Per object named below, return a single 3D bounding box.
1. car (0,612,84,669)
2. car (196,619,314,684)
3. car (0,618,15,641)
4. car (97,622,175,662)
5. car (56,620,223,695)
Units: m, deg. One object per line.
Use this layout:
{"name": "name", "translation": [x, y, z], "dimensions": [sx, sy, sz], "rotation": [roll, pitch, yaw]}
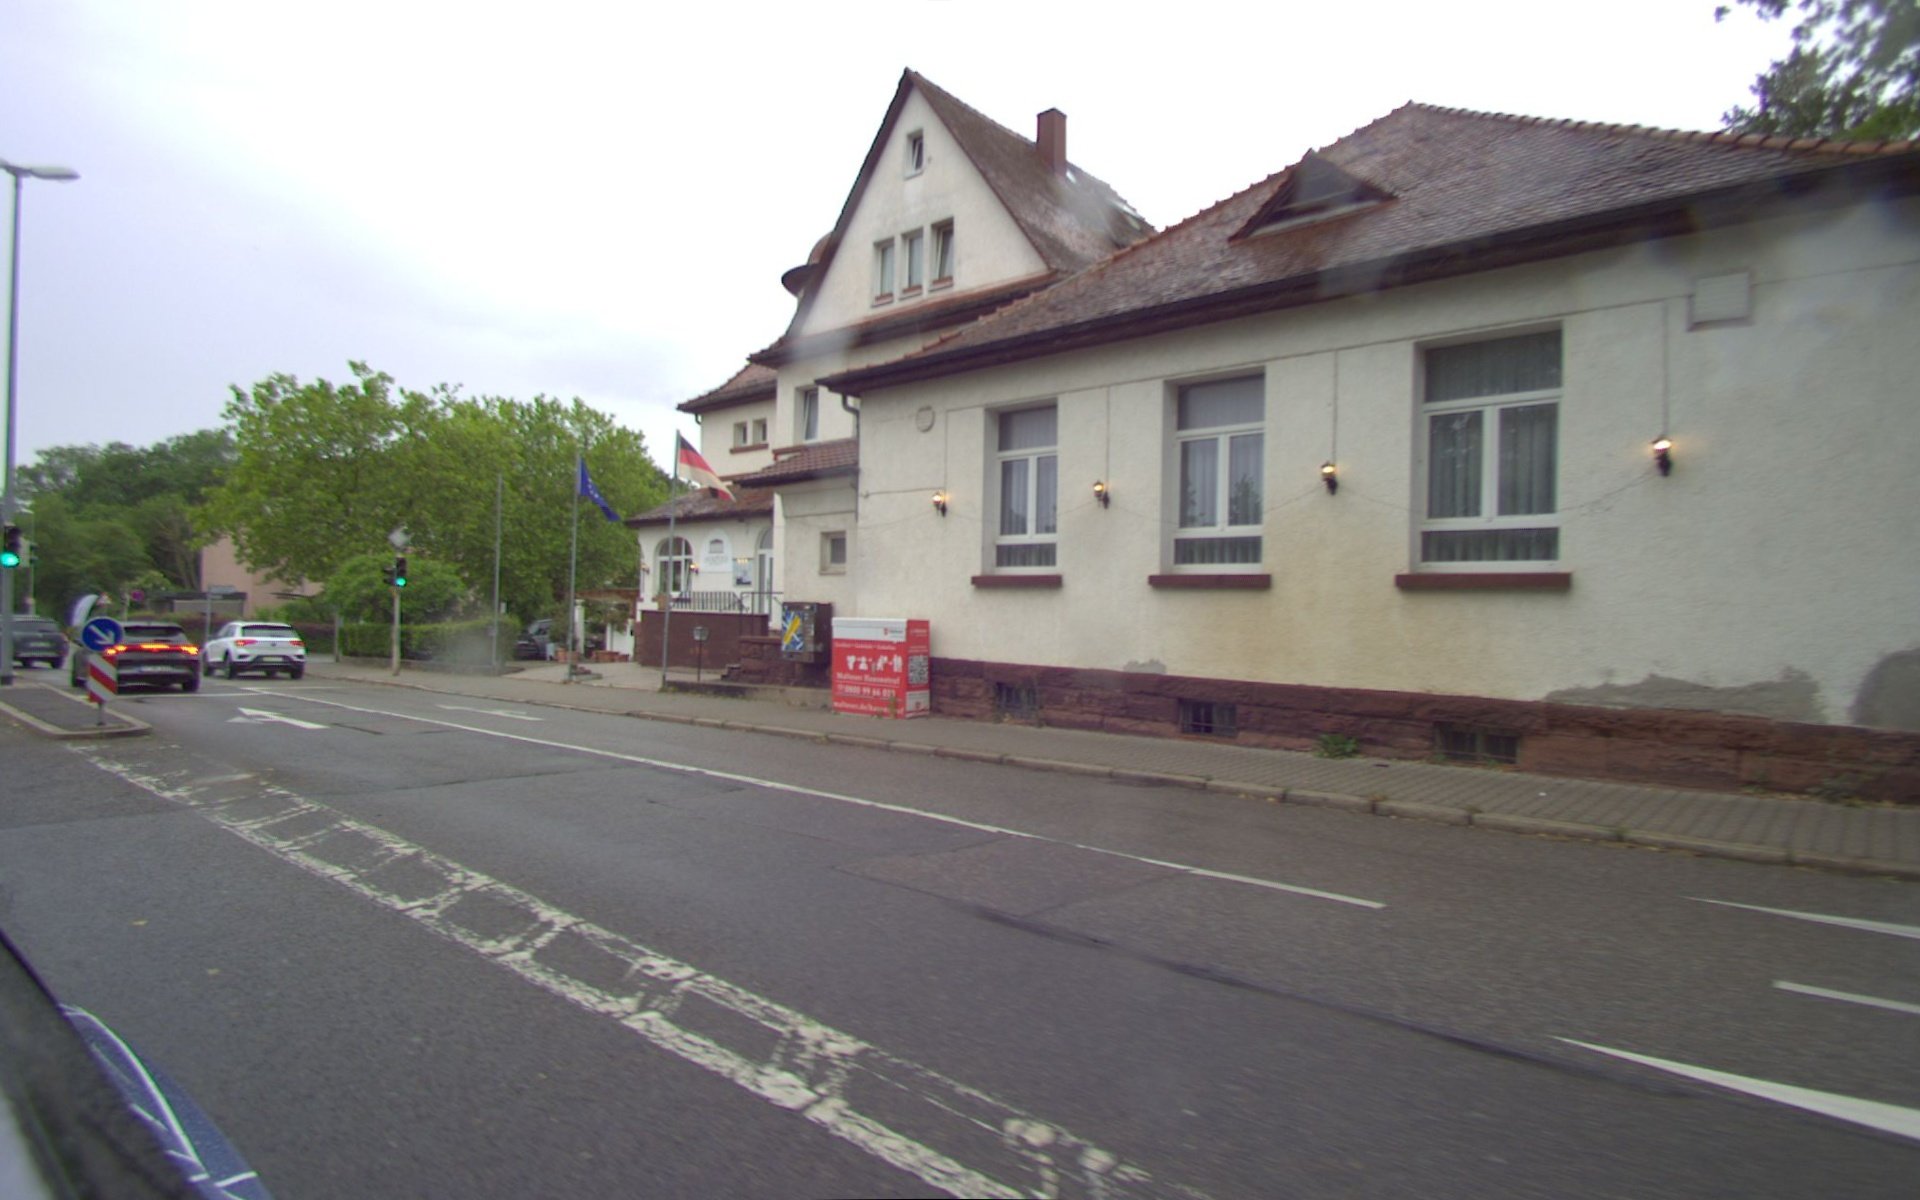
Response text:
{"name": "car", "translation": [-29.524, 1.270, 31.649], "dimensions": [4.287, 1.674, 1.979], "rotation": [-1, -3, 31]}
{"name": "car", "translation": [-19.915, 1.428, 28.529], "dimensions": [4.000, 1.697, 1.971], "rotation": [-3, -2, 44]}
{"name": "car", "translation": [-73.567, 2.255, 77.088], "dimensions": [4.303, 1.674, 1.972], "rotation": [-2, -3, 43]}
{"name": "car", "translation": [-32.102, 1.626, 39.380], "dimensions": [4.105, 1.431, 1.748], "rotation": [-2, -6, 43]}
{"name": "car", "translation": [-17.448, 1.176, 21.446], "dimensions": [4.385, 1.440, 1.973], "rotation": [-2, -3, 41]}
